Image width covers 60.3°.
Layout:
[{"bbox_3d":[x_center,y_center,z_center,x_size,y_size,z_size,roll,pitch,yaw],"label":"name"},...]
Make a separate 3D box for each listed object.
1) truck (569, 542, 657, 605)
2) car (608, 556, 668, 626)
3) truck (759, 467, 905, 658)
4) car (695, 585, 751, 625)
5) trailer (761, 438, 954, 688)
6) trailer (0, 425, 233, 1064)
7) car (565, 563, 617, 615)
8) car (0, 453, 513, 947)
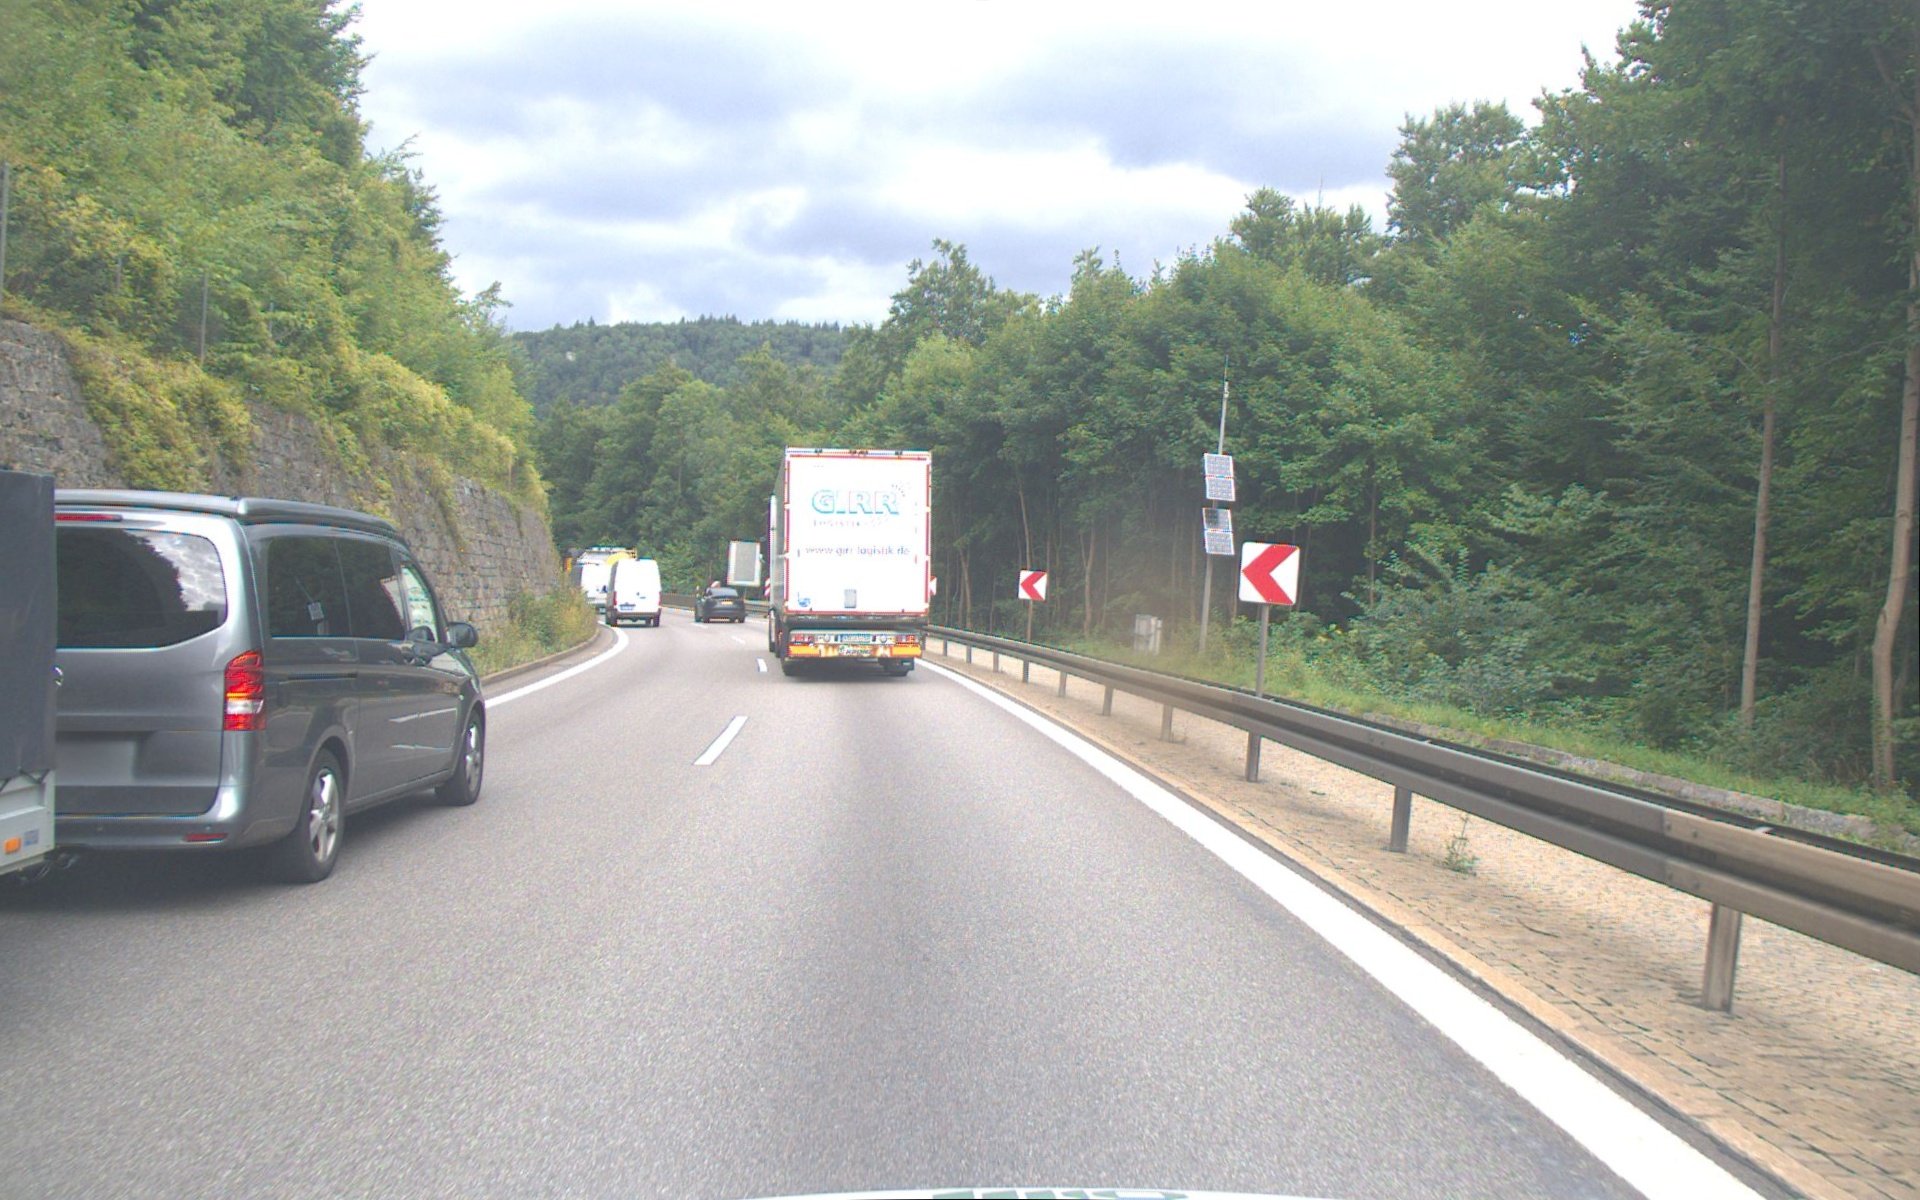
[{"bbox_3d":[-23.803,-1.842,112.770,3.018,4.055,13.594,0,1,-24],"label":"truck"},{"bbox_3d":[-13.590,-0.402,69.452,1.956,2.718,6.910,3,0,-14],"label":"car"},{"bbox_3d":[-3.261,-0.930,40.301,3.000,4.055,7.177,3,1,-7],"label":"truck"},{"bbox_3d":[-10.916,0.202,75.889,1.961,1.691,3.983,3,0,-16],"label":"car"},{"bbox_3d":[-2.442,-0.802,33.937,3.000,4.055,12.119,3,1,-7],"label":"trailer"},{"bbox_3d":[-3.934,0.440,5.184,1.932,1.973,3.428,0,0,-4],"label":"trailer"},{"bbox_3d":[-20.572,-0.666,92.118,1.912,2.718,5.954,3,0,-21],"label":"car"},{"bbox_3d":[-4.182,0.396,9.614,1.954,2.049,5.536,0,0,-3],"label":"car"}]
